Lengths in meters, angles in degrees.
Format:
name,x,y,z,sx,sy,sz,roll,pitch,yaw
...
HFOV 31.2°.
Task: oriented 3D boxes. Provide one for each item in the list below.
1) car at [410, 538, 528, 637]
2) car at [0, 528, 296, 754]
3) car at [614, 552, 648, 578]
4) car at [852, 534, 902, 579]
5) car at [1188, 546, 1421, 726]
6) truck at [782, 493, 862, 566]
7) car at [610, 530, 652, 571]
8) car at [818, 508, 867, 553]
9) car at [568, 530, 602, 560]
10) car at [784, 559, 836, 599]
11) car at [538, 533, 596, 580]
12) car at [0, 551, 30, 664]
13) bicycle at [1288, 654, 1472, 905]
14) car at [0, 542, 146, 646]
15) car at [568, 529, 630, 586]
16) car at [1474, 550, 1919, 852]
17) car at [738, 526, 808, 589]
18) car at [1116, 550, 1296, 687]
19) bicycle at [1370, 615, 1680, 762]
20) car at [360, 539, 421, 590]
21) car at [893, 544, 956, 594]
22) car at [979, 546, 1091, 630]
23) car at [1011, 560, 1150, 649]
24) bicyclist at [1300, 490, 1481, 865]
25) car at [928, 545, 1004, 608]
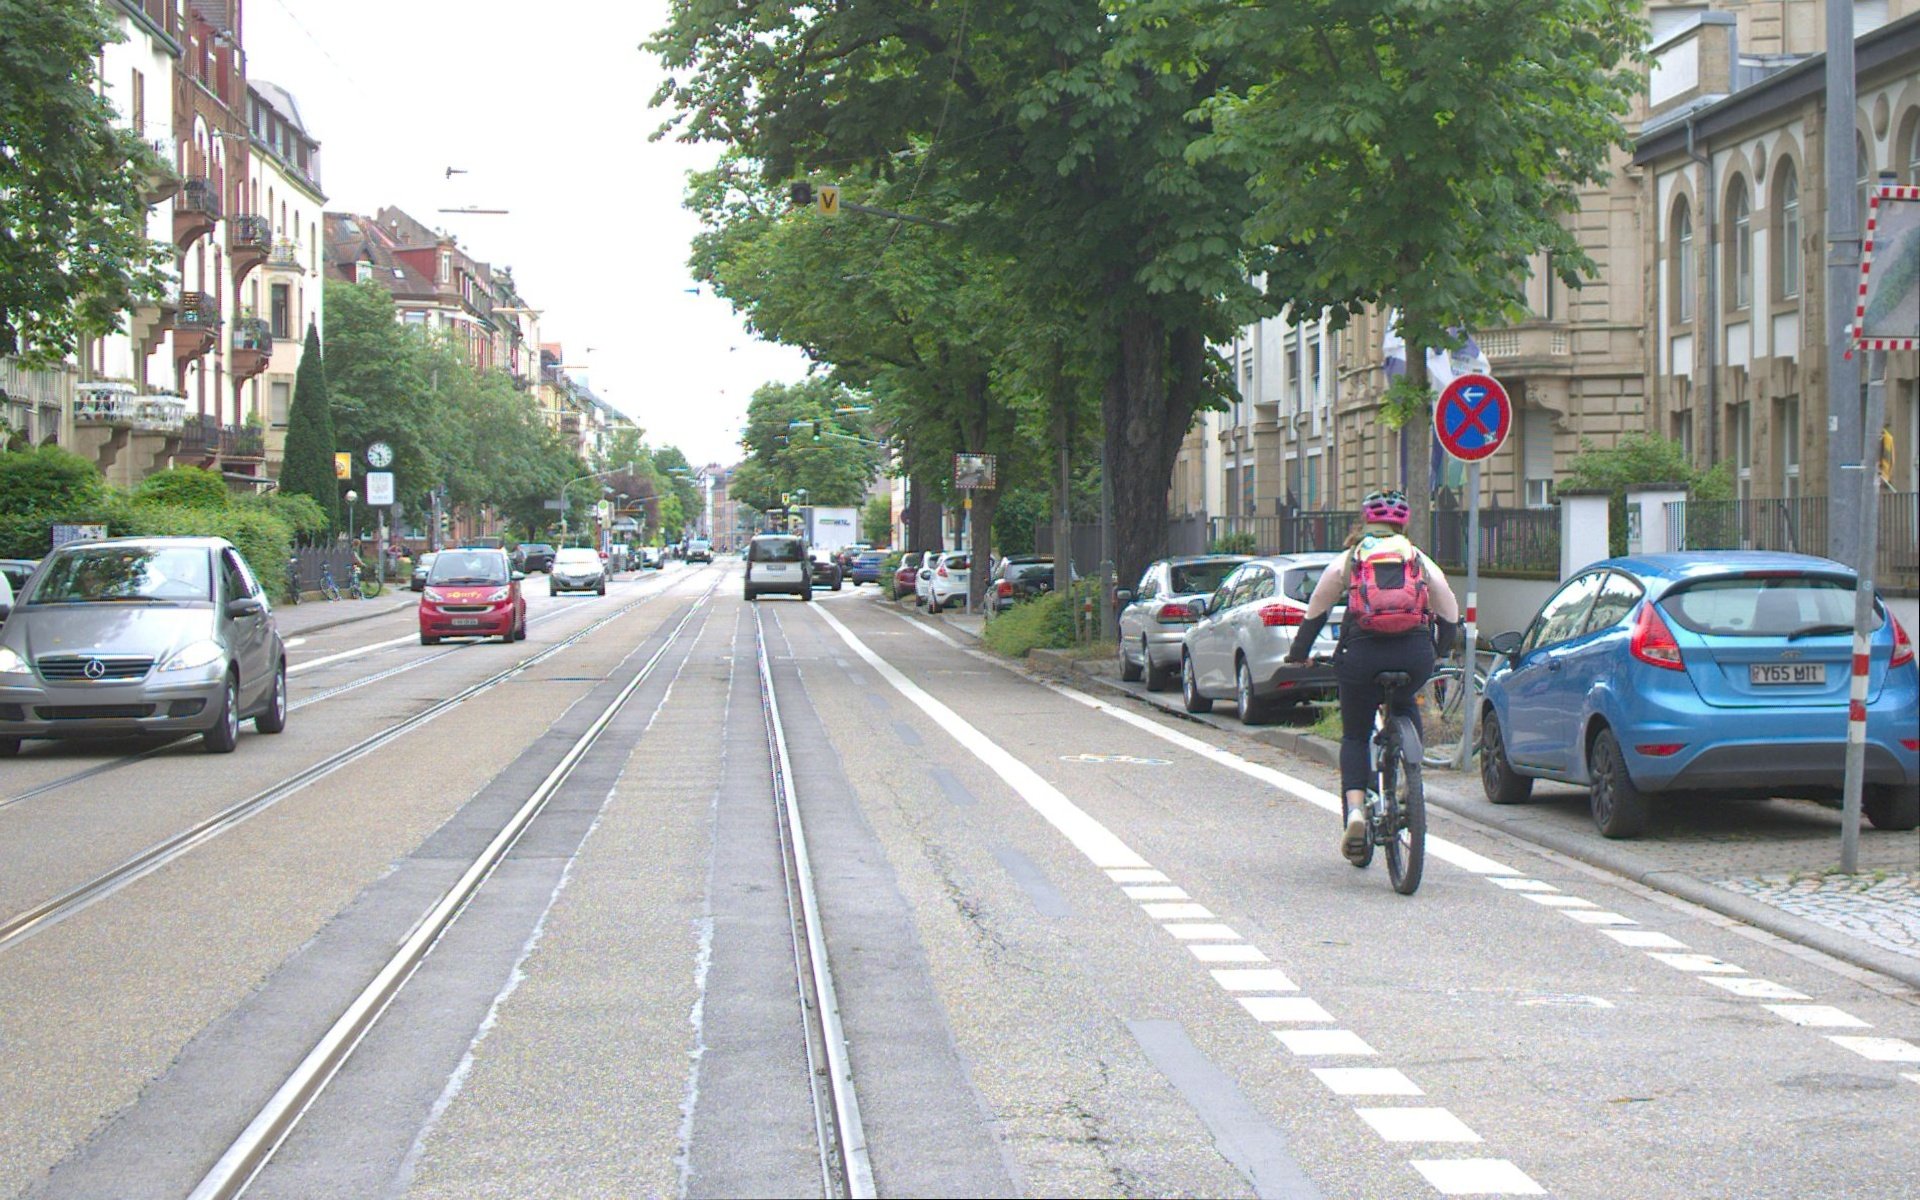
name,x,y,z,sx,sy,sz,roll,pitch,yaw
car,-7.787,-0.207,54.688,1.676,1.517,2.782,1,0,-4
car,-6.195,0.251,25.752,1.900,1.525,3.755,-2,1,-4
car,-20.959,-2.248,219.128,1.772,1.638,3.566,-1,1,0
car,-3.378,-1.787,139.284,1.993,1.787,4.001,0,1,-2
car,3.012,0.273,30.636,1.475,1.476,3.566,1,1,-4
truck,-7.917,-4.015,196.020,3.807,4.015,10.220,-1,1,-6
car,-18.390,-2.774,192.314,2.205,2.248,4.001,-1,1,-3
car,-5.360,-3.144,156.577,1.993,2.007,4.001,-1,1,-5
car,-25.828,-3.799,236.880,1.820,2.060,3.880,-1,1,0
car,-5.451,-0.785,125.291,1.770,1.394,3.795,0,1,-1
car,-12.289,-1.382,107.574,1.740,1.424,4.001,-1,1,-6
car,-13.157,0.072,40.496,1.698,1.347,3.959,2,1,41
bicycle,1.856,0.768,15.407,0.489,0.976,2.058,1,1,-2
car,-12.990,-0.089,45.683,1.698,1.347,3.959,2,1,41
car,-15.524,-1.835,148.020,2.205,2.409,4.000,-1,1,0
car,3.995,0.473,18.714,1.674,1.455,3.433,0,1,-4
car,-5.202,-1.177,96.006,1.811,1.702,3.699,1,0,-1
car,2.660,0.177,37.753,1.475,1.424,3.566,1,0,-4
bicycle,3.846,0.593,23.434,2.012,0.953,0.534,-1,1,-7
car,-25.276,-1.605,152.684,2.177,2.199,4.219,-1,1,-2
car,-1.050,-0.909,99.303,1.770,1.394,3.795,0,1,-1
car,1.282,-0.232,60.295,1.791,1.394,3.795,0,1,-1
car,1.788,0.037,52.073,1.873,1.247,4.000,0,1,-1
bicyclist,1.893,0.323,15.202,0.658,1.605,0.920,0,1,-2
car,0.125,-0.567,79.247,1.667,1.394,3.661,0,1,-1
